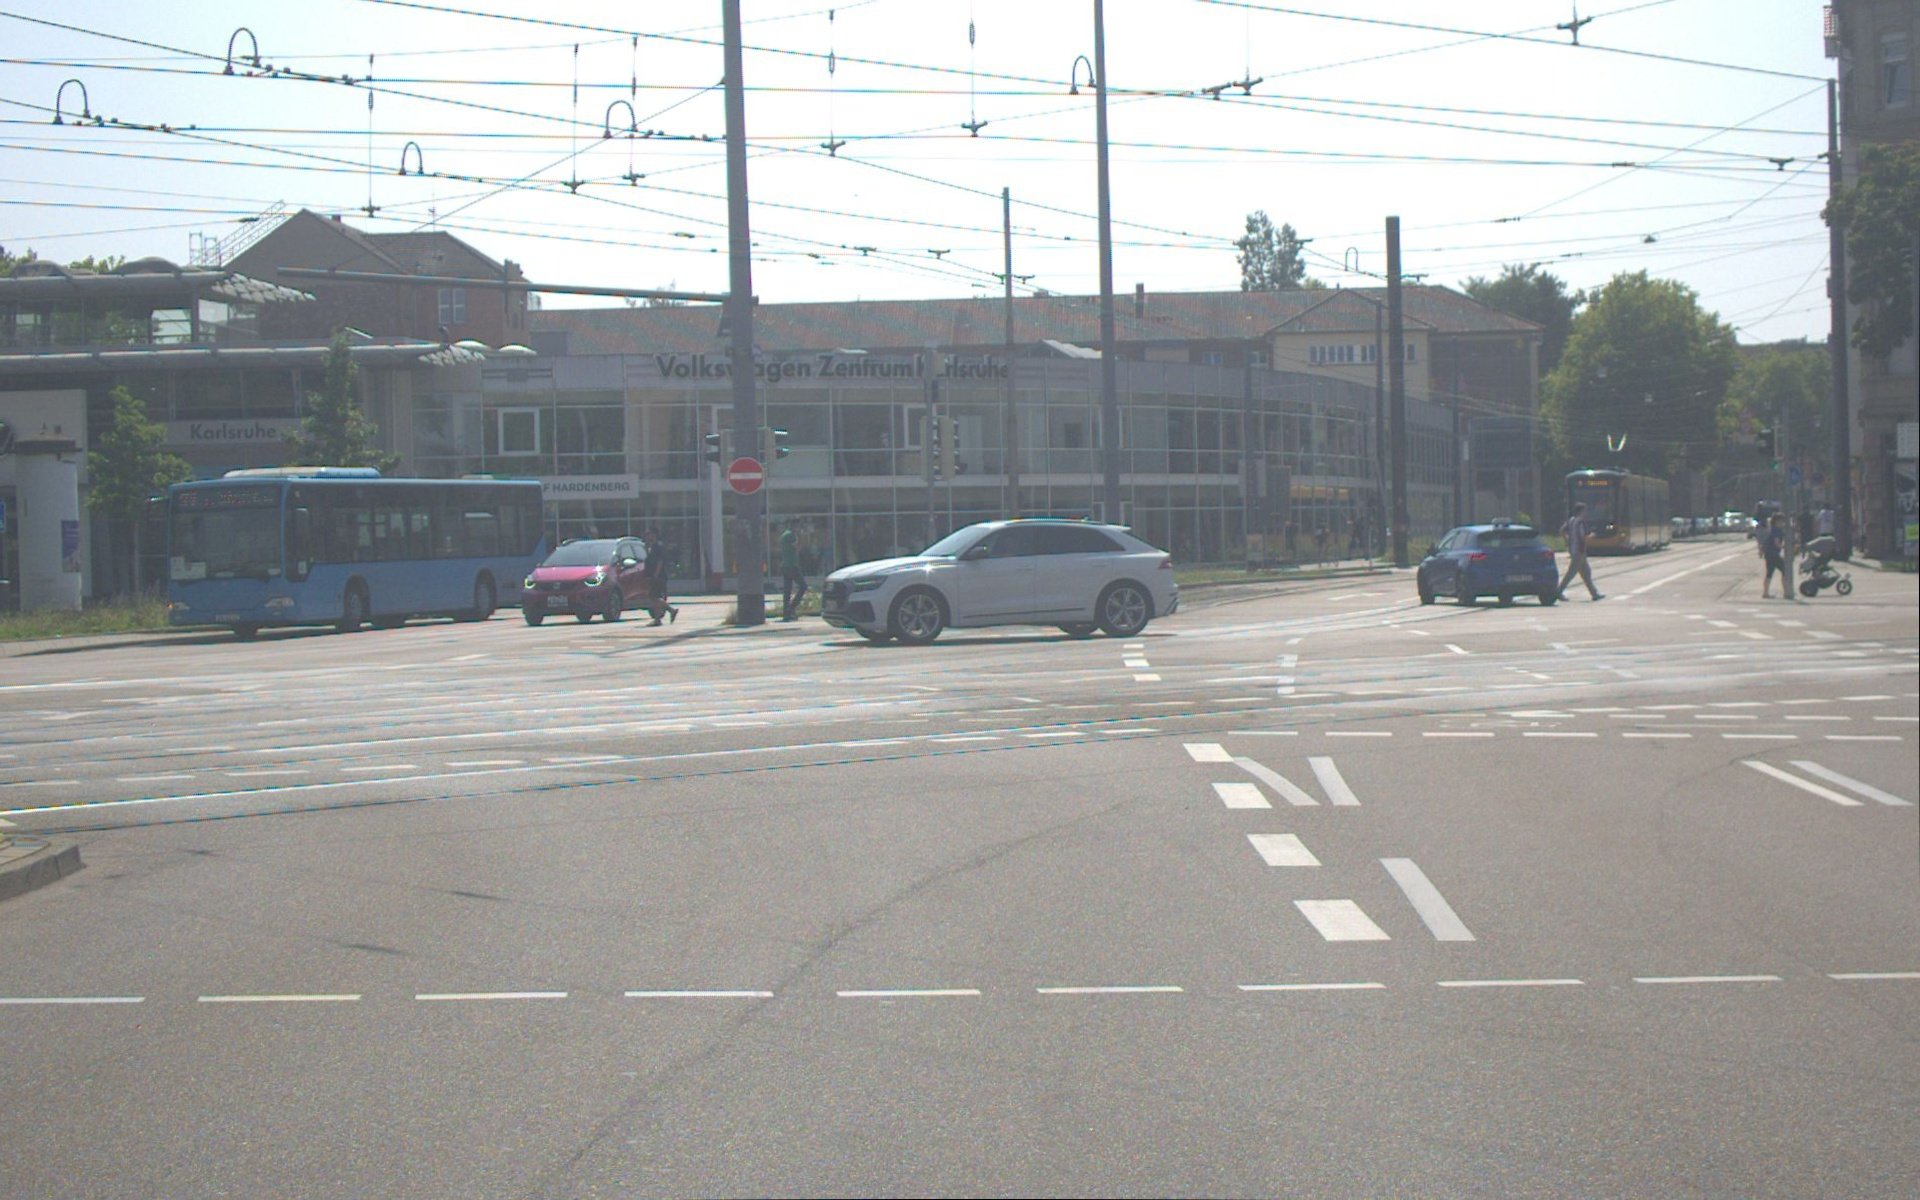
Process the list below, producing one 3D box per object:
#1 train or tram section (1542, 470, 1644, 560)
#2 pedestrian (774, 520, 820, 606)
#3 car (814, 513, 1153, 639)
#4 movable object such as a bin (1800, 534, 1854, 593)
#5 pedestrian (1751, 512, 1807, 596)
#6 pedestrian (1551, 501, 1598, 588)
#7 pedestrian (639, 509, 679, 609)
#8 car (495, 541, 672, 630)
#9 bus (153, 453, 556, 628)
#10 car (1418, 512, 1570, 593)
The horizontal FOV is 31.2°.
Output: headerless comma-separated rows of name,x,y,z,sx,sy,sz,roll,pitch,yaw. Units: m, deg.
train or tram section,26.089,-3.481,141.357,2.590,3.504,10.889,-1,1,18
pedestrian,-2.771,-0.629,58.518,0.676,1.438,0.366,-1,1,-17
car,0.319,-0.347,47.593,4.320,1.612,1.755,-2,1,-18
movable object such as a bin,16.138,-0.683,63.966,0.812,1.073,0.512,-1,1,-11
pedestrian,15.265,-0.861,64.090,0.850,1.539,0.529,-1,1,-8
pedestrian,11.491,-1.039,64.308,0.699,1.597,0.573,-1,1,-8
pedestrian,-5.132,-0.696,58.554,0.552,1.678,0.454,-1,1,-18
car,-6.951,-0.297,63.848,1.751,1.546,3.997,-1,1,18
bus,-11.481,-1.194,67.024,2.564,3.072,12.014,-1,1,17
car,9.581,-0.859,61.958,1.590,1.389,4.001,-1,1,-8
